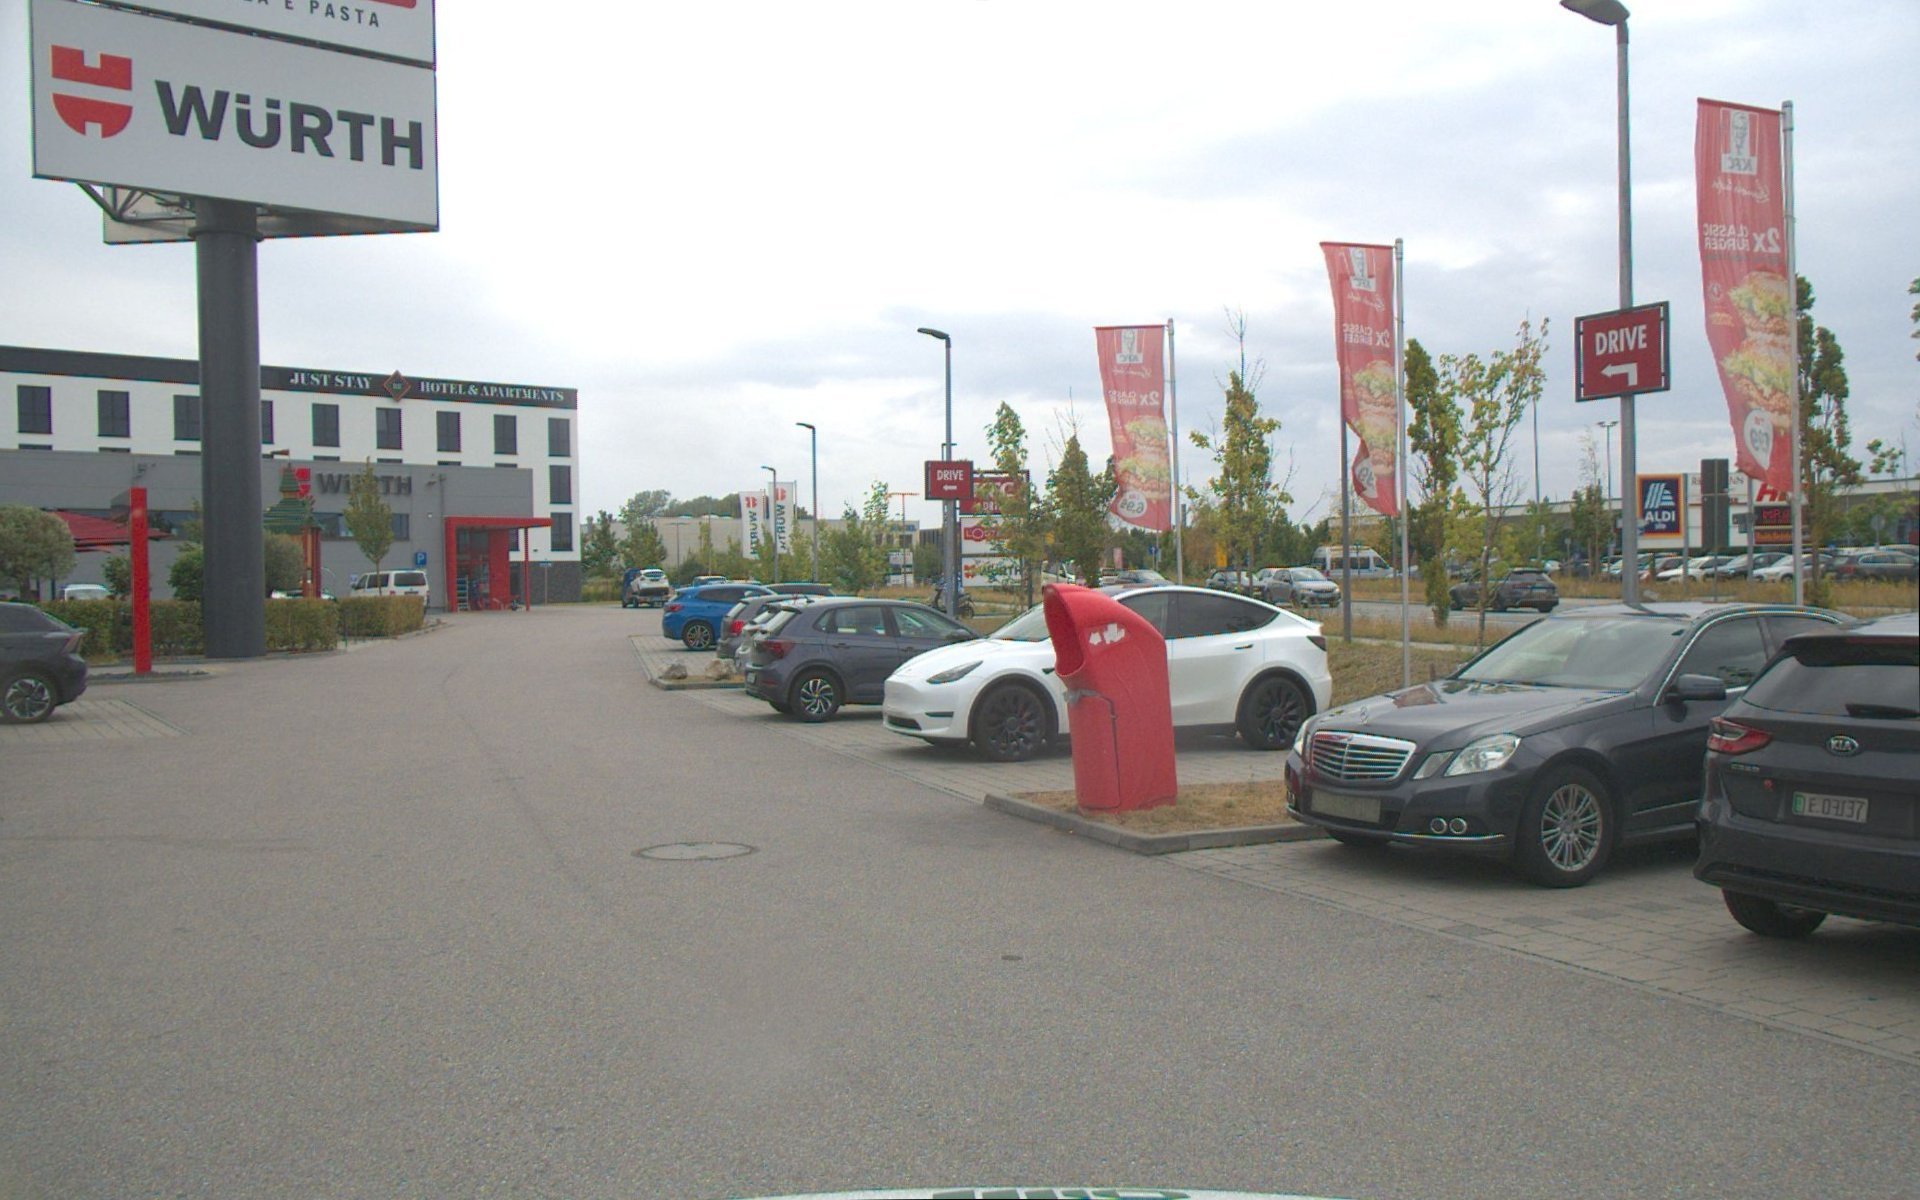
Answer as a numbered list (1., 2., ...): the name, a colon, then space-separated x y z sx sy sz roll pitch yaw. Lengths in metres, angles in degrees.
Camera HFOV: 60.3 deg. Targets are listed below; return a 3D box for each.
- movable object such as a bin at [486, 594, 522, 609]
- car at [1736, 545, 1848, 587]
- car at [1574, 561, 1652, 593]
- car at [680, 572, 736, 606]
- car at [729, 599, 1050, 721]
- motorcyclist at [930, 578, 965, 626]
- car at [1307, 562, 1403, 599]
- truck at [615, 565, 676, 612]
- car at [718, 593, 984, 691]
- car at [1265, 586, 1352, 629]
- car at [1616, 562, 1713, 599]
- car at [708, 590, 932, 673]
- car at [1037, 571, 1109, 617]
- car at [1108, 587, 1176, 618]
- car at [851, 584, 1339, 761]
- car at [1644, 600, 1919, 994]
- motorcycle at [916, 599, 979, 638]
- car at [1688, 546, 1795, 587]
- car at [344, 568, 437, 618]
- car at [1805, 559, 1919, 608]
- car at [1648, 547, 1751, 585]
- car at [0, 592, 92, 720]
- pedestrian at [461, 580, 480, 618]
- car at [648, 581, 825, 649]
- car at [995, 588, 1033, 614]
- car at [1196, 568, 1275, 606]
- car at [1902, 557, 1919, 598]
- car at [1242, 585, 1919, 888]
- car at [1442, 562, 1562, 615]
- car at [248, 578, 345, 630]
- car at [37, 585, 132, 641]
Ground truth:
1. movable object such as a bin: -22.389 0.081 81.236 1.476 0.716 0.953 0 0 -36
2. car: 34.484 -1.419 68.553 3.984 1.566 1.988 -3 1 -21
3. car: 40.545 -1.406 102.788 1.975 1.869 4.140 -3 2 -32
4. car: -12.608 -0.524 82.681 1.832 1.679 3.970 1 0 -24
5. car: -0.911 0.735 20.960 3.738 1.437 1.729 1 0 -19
6. motorcyclist: -0.411 0.052 53.359 0.923 1.515 0.827 -1 0 -16
7. car: 25.263 -1.259 105.965 5.481 2.158 2.333 -2 1 -12
8. truck: -18.706 -0.624 97.968 2.297 2.449 7.847 0 -2 -20
9. car: -1.742 0.651 25.968 3.864 1.437 1.831 1 0 -17
10. car: 13.024 0.252 62.014 1.792 1.485 3.990 -2 1 -11
11. car: 32.973 -0.919 77.401 3.984 1.566 1.896 -3 1 -21
12. car: -2.614 0.575 30.572 3.919 1.453 1.721 1 0 -14
13. car: 5.528 -0.344 81.425 1.960 2.122 5.211 -1 1 -15
14. car: 8.716 0.097 79.508 1.735 1.419 4.200 -1 1 -17
15. car: 1.338 0.669 16.440 4.468 1.568 1.913 1 0 -22
16. car: 5.147 0.754 7.299 4.012 1.437 1.870 1 0 -29
17. motorcycle: -0.411 0.589 53.365 1.884 1.229 0.791 -1 0 -16
18. car: 33.725 -1.445 71.412 3.984 1.566 1.988 -3 1 -21
19. car: -24.584 -0.294 71.369 3.992 1.886 2.050 -1 5 44
20. car: 32.626 -0.590 58.960 4.069 1.566 1.996 -2 1 -8
21. car: 33.421 -1.530 74.767 3.996 1.527 1.856 -3 1 -17
22. car: -12.971 0.686 20.225 4.071 1.555 1.722 0 0 -33
23. pedestrian: -24.277 -0.051 82.085 0.671 1.834 0.869 0 0 -35
24. car: -5.422 0.339 39.982 4.128 1.571 1.859 -1 1 -12
25. car: 2.965 0.054 91.277 1.435 1.360 3.155 -1 1 -11
26. car: 11.616 -0.568 69.942 1.819 1.525 4.270 -1 1 -13
27. car: 45.362 -1.051 75.036 1.971 1.869 4.149 -3 1 -27
28. car: 4.136 0.712 10.122 4.677 1.482 1.892 1 -1 -30
29. car: 17.798 -0.395 54.582 1.763 1.579 4.845 -2 1 -8
30. car: -23.290 0.131 57.954 1.980 1.679 4.516 -3 1 -37
31. car: -28.381 0.419 53.549 1.980 1.679 4.516 -3 1 -37
